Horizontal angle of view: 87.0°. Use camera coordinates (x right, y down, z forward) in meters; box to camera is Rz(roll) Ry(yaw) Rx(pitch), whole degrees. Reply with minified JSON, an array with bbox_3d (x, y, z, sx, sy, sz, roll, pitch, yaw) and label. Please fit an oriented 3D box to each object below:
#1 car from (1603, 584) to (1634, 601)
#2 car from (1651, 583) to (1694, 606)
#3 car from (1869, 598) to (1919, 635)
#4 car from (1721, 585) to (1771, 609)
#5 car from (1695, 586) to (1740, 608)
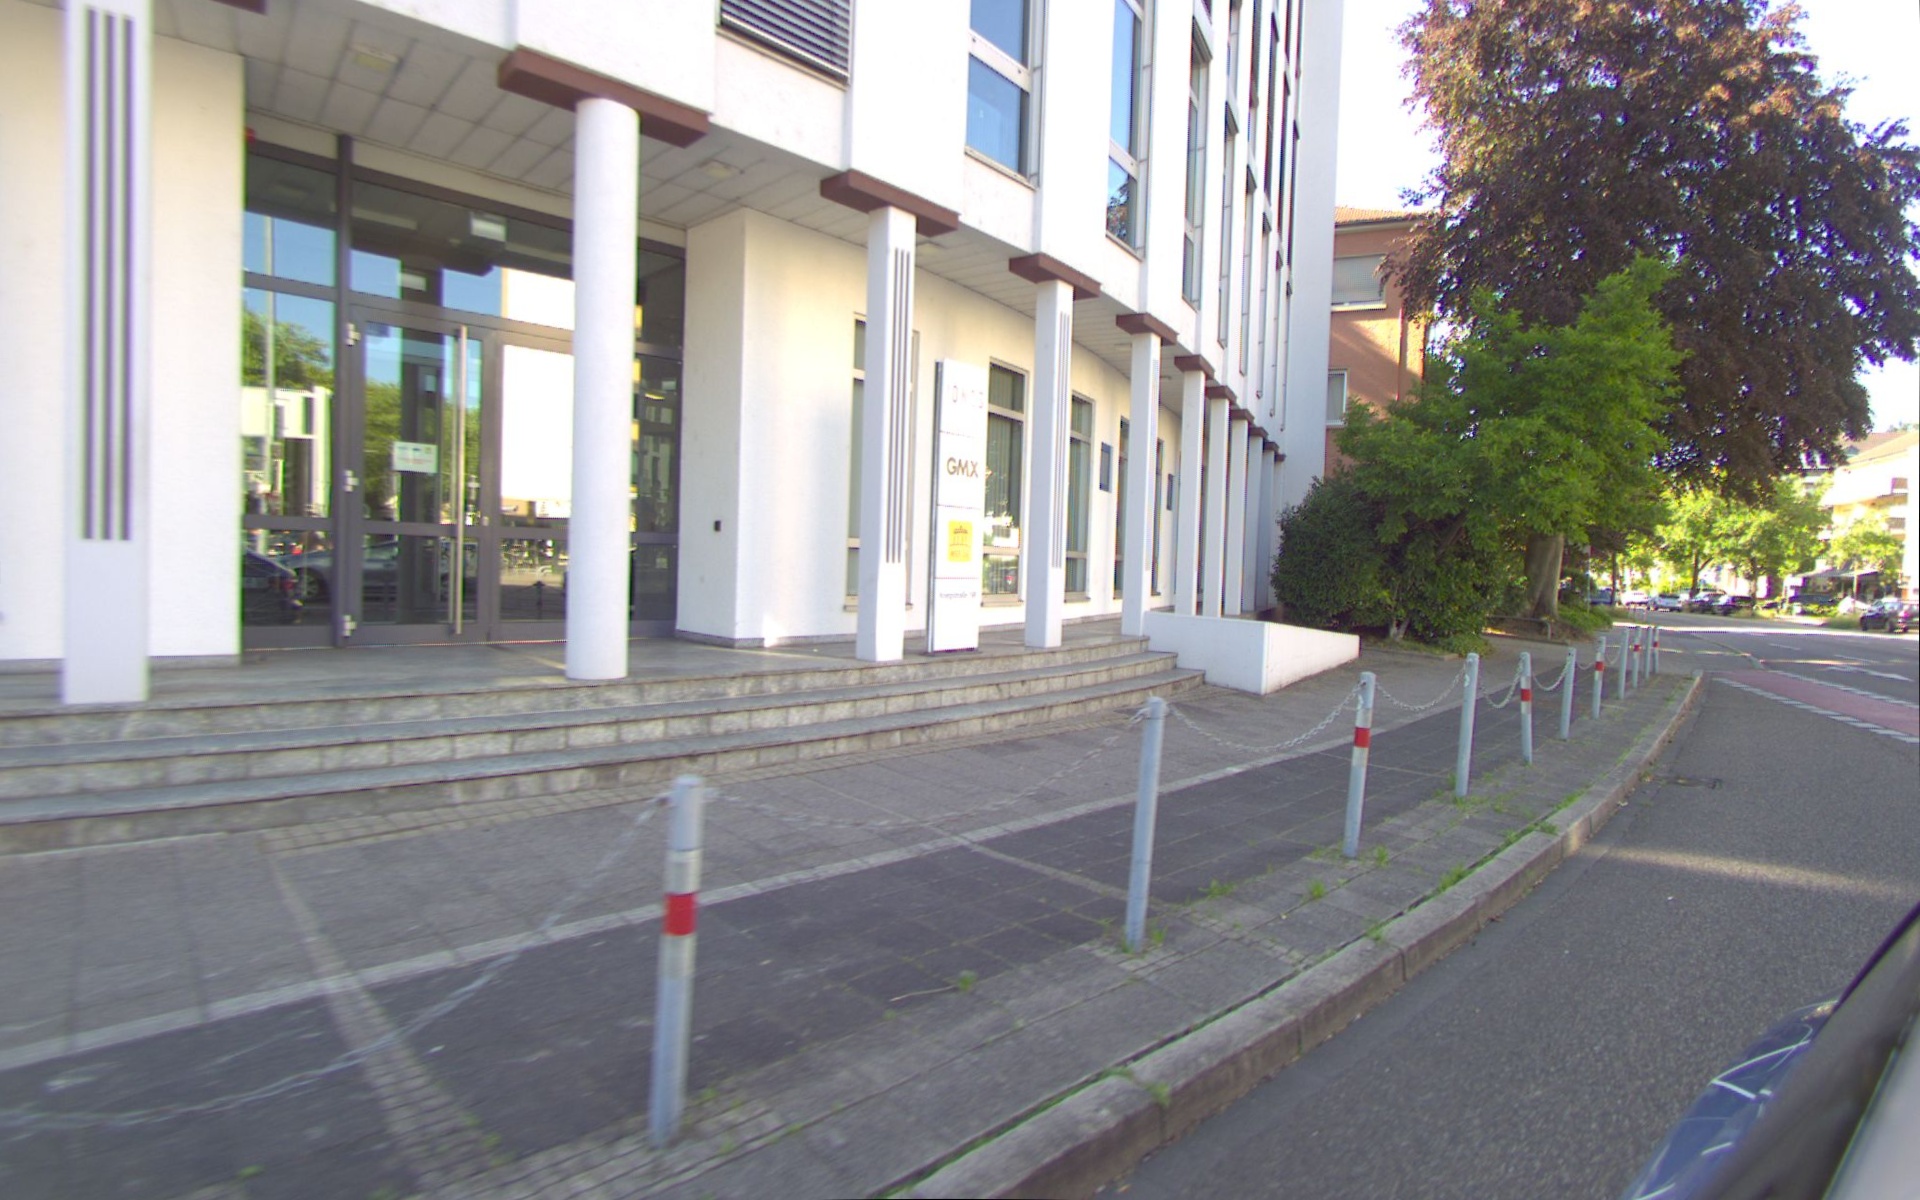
[{"bbox_3d":[62.657,-0.688,96.413,1.785,1.581,4.134,0,0,24],"label":"car"},{"bbox_3d":[53.552,-0.436,76.101,1.786,1.580,4.134,3,2,23],"label":"car"},{"bbox_3d":[43.666,0.724,46.366,1.785,1.581,4.134,0,0,24],"label":"car"},{"bbox_3d":[53.747,-0.234,69.262,1.785,1.581,3.892,0,0,24],"label":"car"},{"bbox_3d":[55.908,-0.217,74.724,1.785,1.581,3.892,0,0,24],"label":"car"}]
